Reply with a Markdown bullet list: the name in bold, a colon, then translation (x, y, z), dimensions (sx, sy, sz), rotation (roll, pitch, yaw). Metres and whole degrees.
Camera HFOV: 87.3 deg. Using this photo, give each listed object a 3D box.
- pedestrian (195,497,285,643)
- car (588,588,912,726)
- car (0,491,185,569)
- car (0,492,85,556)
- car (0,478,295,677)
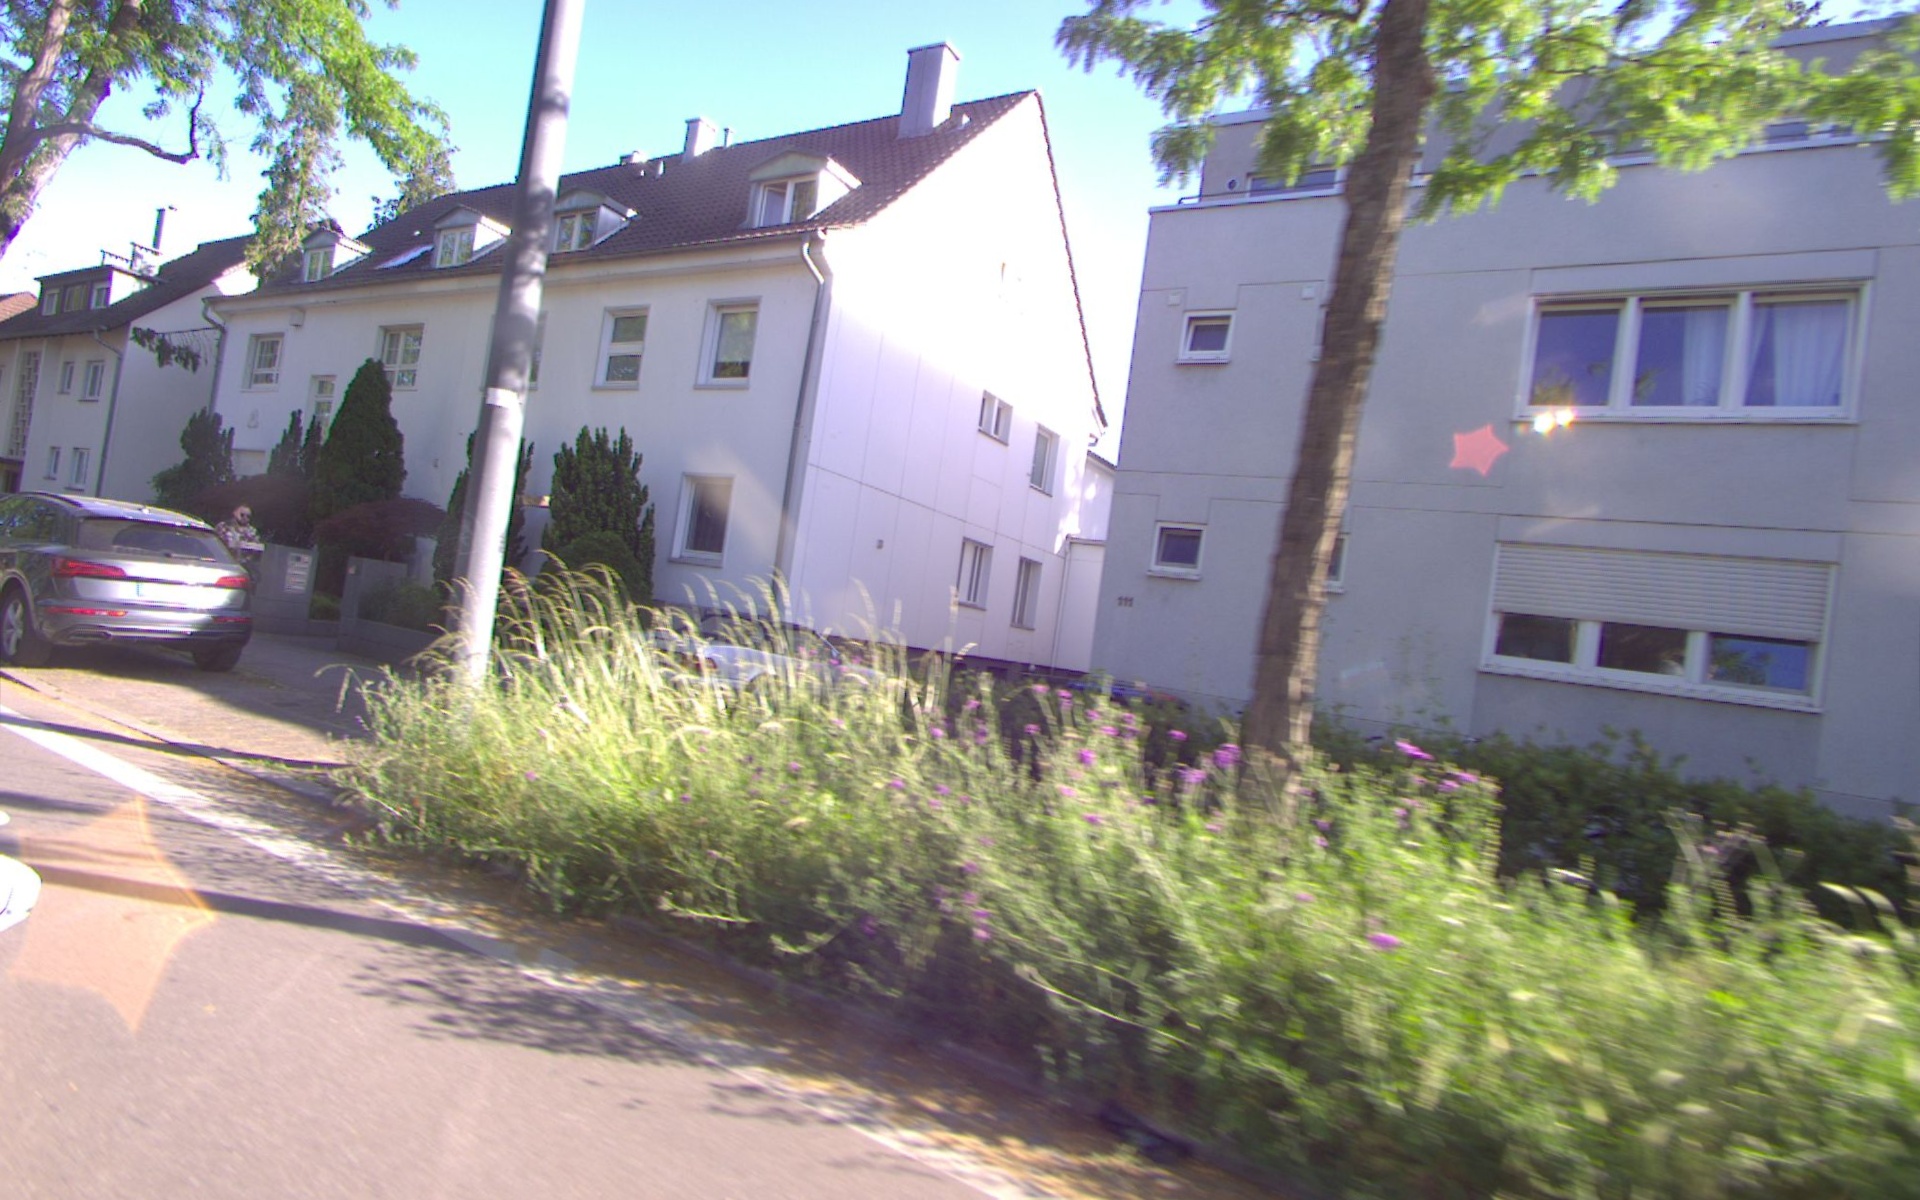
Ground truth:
- **pedestrian**: translation (-9.809, -0.401, 13.715), dimensions (0.719, 1.894, 0.626), rotation (7, 2, 30)
- **car**: translation (-2.592, 0.848, 13.378), dimensions (1.846, 1.358, 4.060), rotation (7, -2, 31)
- **car**: translation (-23.088, -1.841, 26.009), dimensions (1.828, 1.508, 4.424), rotation (7, 0, 34)
- **car**: translation (-26.679, -2.256, 27.452), dimensions (1.709, 1.507, 3.749), rotation (7, -1, 26)
- **car**: translation (-9.521, -0.343, 10.943), dimensions (4.402, 1.726, 1.996), rotation (7, 1, 31)
